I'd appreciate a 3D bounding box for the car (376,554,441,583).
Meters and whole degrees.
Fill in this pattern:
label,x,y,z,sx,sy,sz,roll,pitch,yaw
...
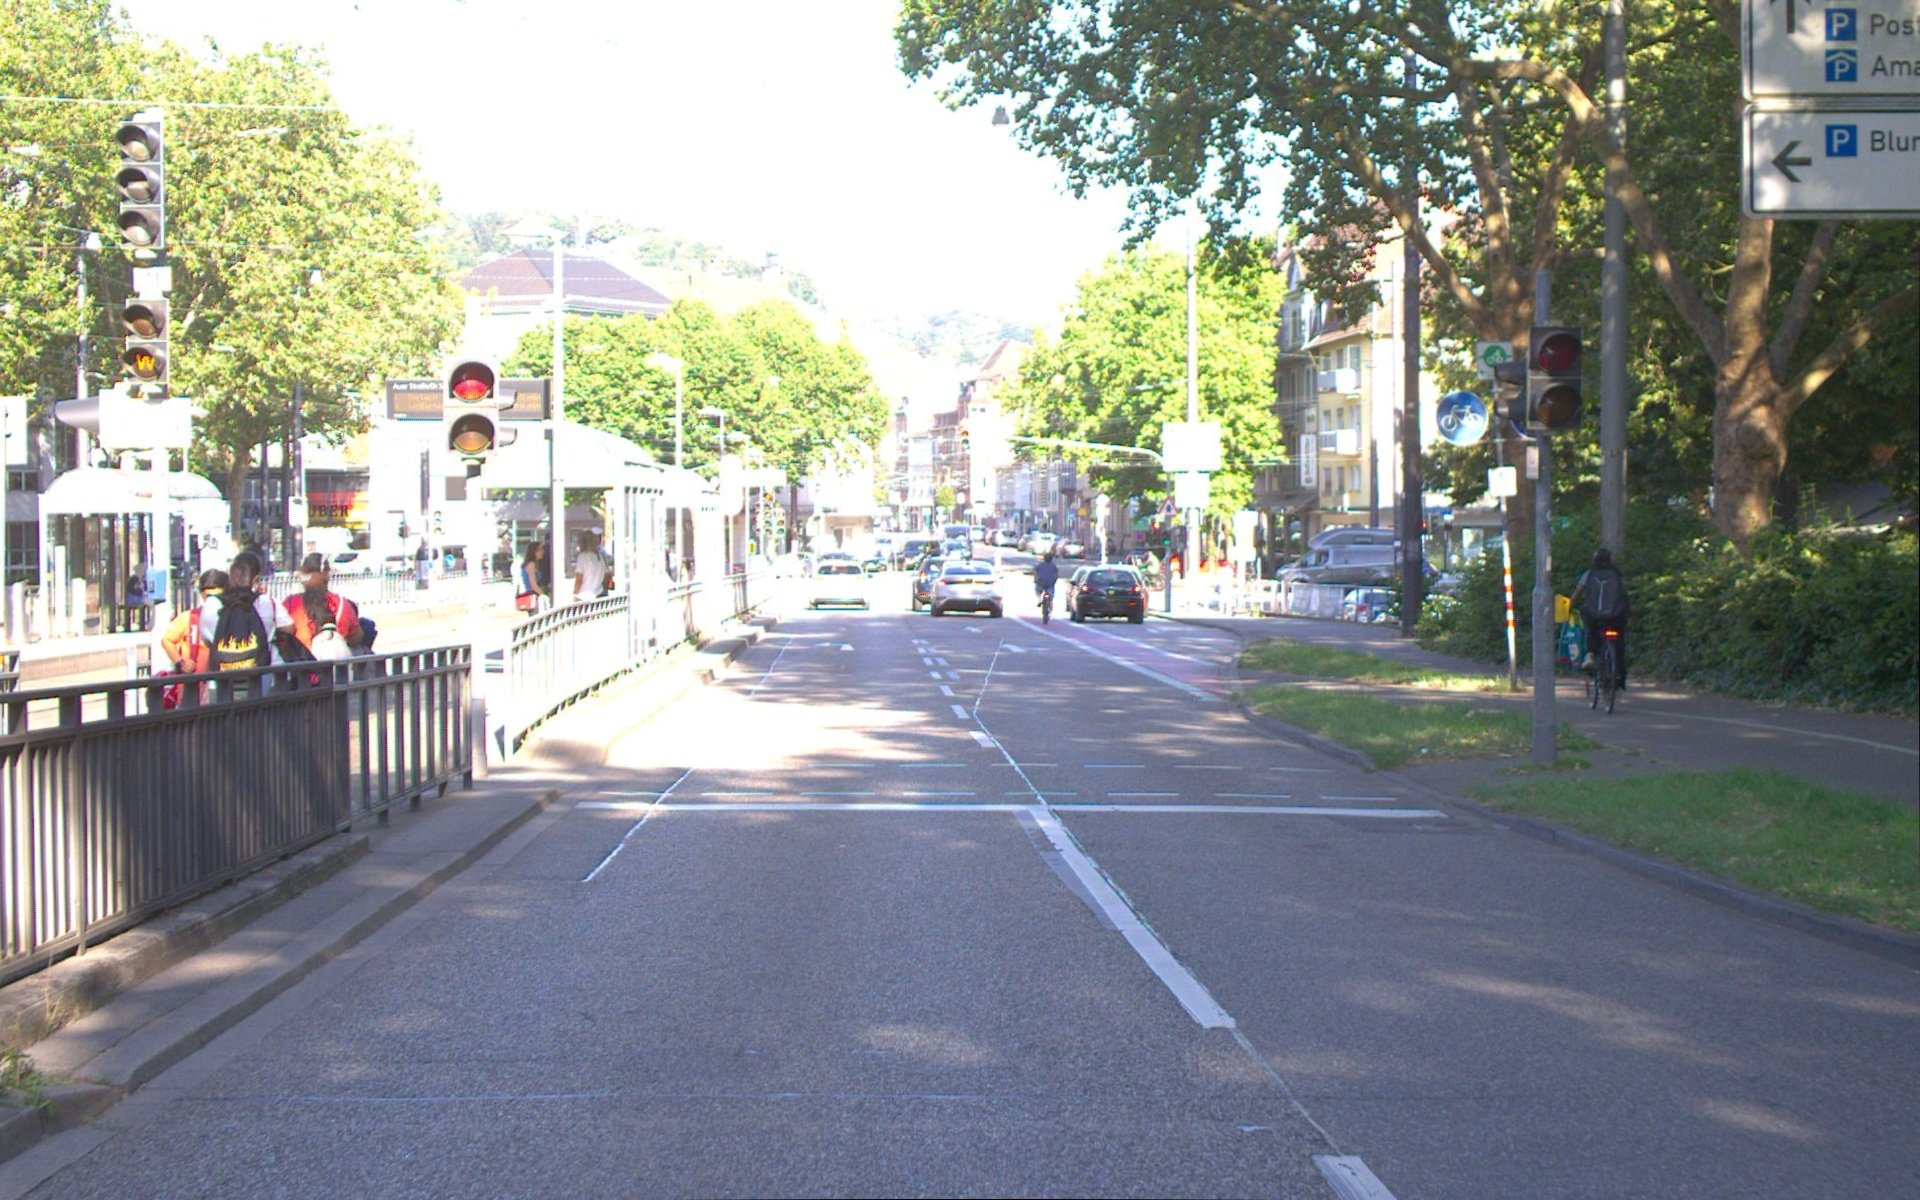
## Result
label,x,y,z,sx,sy,sz,roll,pitch,yaw
car,-29.367,-1.692,183.170,1.796,1.505,4.007,0,1,17

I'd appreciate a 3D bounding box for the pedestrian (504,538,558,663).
label,x,y,z,sx,sy,sz,roll,pitch,yaw
pedestrian,-5.406,0.003,43.362,0.588,1.561,0.650,1,0,-1

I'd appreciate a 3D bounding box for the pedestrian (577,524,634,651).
label,x,y,z,sx,sy,sz,roll,pitch,yaw
pedestrian,-5.192,-0.182,50.393,0.651,1.835,0.710,1,0,8

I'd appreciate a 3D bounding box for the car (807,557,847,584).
label,x,y,z,sx,sy,sz,roll,pitch,yaw
car,-7.555,-1.682,195.793,1.794,1.505,3.999,0,0,5

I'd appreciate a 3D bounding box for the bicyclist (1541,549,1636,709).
label,x,y,z,sx,sy,sz,roll,pitch,yaw
bicyclist,5.979,0.269,32.711,0.766,1.508,0.650,0,1,-2

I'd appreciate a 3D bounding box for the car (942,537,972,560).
label,x,y,z,sx,sy,sz,roll,pitch,yaw
car,-0.192,-3.402,226.053,1.794,1.505,4.001,0,1,-3

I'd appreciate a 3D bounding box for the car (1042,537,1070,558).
label,x,y,z,sx,sy,sz,roll,pitch,yaw
car,7.097,-3.885,254.394,1.794,1.505,4.000,0,1,-2

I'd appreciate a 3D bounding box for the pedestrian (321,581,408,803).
label,x,y,z,sx,sy,sz,roll,pitch,yaw
pedestrian,-3.612,0.553,20.853,0.416,1.316,0.359,-2,0,-1

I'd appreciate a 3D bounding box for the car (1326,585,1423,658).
label,x,y,z,sx,sy,sz,roll,pitch,yaw
car,11.092,0.558,92.263,1.794,1.891,4.360,1,0,-4

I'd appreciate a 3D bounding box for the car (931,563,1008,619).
label,x,y,z,sx,sy,sz,roll,pitch,yaw
car,0.225,-0.271,93.977,1.929,1.467,4.855,0,1,-2

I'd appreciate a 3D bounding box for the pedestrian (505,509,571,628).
label,x,y,z,sx,sy,sz,roll,pitch,yaw
pedestrian,-6.135,-0.460,50.001,0.651,1.716,0.710,1,0,-37

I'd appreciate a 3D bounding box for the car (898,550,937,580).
label,x,y,z,sx,sy,sz,roll,pitch,yaw
car,-2.593,-2.154,211.399,1.795,1.820,3.999,0,1,9

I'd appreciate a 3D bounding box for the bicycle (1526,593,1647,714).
label,x,y,z,sx,sy,sz,roll,pitch,yaw
bicycle,5.981,0.497,32.909,0.766,1.104,1.800,0,1,-2

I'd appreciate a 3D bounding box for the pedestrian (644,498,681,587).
label,x,y,z,sx,sy,sz,roll,pitch,yaw
pedestrian,-5.623,-1.083,64.942,0.595,1.672,0.589,1,0,3

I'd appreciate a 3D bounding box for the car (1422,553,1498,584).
label,x,y,z,sx,sy,sz,roll,pitch,yaw
car,19.548,-1.238,134.290,2.904,1.158,2.073,1,0,9

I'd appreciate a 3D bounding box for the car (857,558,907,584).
label,x,y,z,sx,sy,sz,roll,pitch,yaw
car,-4.635,-1.702,203.920,1.796,1.505,3.997,0,0,17

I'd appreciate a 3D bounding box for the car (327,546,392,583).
label,x,y,z,sx,sy,sz,roll,pitch,yaw
car,-32.053,-1.892,183.619,1.796,1.949,3.997,0,1,17

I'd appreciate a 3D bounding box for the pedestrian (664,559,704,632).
label,x,y,z,sx,sy,sz,roll,pitch,yaw
pedestrian,-4.946,-0.086,61.658,0.678,1.304,0.593,0,0,-1

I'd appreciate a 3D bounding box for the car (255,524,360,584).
label,x,y,z,sx,sy,sz,roll,pitch,yaw
car,-35.064,-2.500,184.931,2.498,3.154,6.528,0,1,21

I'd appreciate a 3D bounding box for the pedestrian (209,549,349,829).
label,x,y,z,sx,sy,sz,roll,pitch,yaw
pedestrian,-3.890,0.505,19.647,0.520,1.563,0.507,-2,0,28

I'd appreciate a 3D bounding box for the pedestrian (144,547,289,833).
label,x,y,z,sx,sy,sz,roll,pitch,yaw
pedestrian,-4.159,0.501,19.235,0.520,1.563,0.507,-2,0,28

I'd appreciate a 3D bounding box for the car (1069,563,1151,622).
label,x,y,z,sx,sy,sz,roll,pitch,yaw
car,3.858,-0.203,88.958,1.800,1.434,4.045,1,1,-2

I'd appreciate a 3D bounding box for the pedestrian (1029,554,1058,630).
label,x,y,z,sx,sy,sz,roll,pitch,yaw
pedestrian,2.072,-0.203,85.286,0.657,1.864,0.678,0,1,-2

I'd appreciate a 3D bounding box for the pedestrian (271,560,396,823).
label,x,y,z,sx,sy,sz,roll,pitch,yaw
pedestrian,-3.705,0.534,20.350,0.589,1.514,0.514,-2,0,-1

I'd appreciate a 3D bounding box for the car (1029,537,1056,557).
label,x,y,z,sx,sy,sz,roll,pitch,yaw
car,6.213,-3.990,260.536,1.794,1.505,4.000,0,1,-2

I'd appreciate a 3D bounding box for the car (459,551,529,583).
label,x,y,z,sx,sy,sz,roll,pitch,yaw
car,-24.459,-1.741,180.555,1.923,1.643,4.176,0,1,19

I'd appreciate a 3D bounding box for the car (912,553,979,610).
label,x,y,z,sx,sy,sz,roll,pitch,yaw
car,-0.452,-0.574,101.193,1.800,1.632,4.045,0,1,-2

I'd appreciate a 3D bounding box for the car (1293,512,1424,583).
label,x,y,z,sx,sy,sz,roll,pitch,yaw
car,15.638,-2.047,134.868,5.016,2.733,2.073,1,0,9

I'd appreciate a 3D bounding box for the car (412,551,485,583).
label,x,y,z,sx,sy,sz,roll,pitch,yaw
car,-26.937,-1.731,181.207,1.797,1.643,4.004,0,1,27

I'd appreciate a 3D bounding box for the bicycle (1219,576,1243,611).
label,x,y,z,sx,sy,sz,roll,pitch,yaw
bicycle,8.248,-0.195,104.588,0.498,1.071,1.800,1,0,-2

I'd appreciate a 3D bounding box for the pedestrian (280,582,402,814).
label,x,y,z,sx,sy,sz,roll,pitch,yaw
pedestrian,-3.874,0.604,21.498,0.589,1.401,0.560,-3,0,-22

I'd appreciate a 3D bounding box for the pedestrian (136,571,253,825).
label,x,y,z,sx,sy,sz,roll,pitch,yaw
pedestrian,-4.535,0.573,20.382,0.520,1.467,0.514,-2,0,-1

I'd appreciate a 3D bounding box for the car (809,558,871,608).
label,x,y,z,sx,sy,sz,roll,pitch,yaw
car,-3.620,-0.518,102.935,1.808,1.447,4.000,0,1,-2

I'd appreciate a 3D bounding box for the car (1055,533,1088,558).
label,x,y,z,sx,sy,sz,roll,pitch,yaw
car,8.015,-3.924,247.884,2.104,1.770,4.342,0,1,-2

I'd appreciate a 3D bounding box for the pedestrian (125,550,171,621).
label,x,y,z,sx,sy,sz,roll,pitch,yaw
pedestrian,-15.591,-0.278,66.045,0.669,1.320,0.757,-3,1,-3

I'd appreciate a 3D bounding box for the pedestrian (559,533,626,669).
label,x,y,z,sx,sy,sz,roll,pitch,yaw
pedestrian,-4.643,0.006,43.477,0.742,1.688,0.791,1,0,-1
